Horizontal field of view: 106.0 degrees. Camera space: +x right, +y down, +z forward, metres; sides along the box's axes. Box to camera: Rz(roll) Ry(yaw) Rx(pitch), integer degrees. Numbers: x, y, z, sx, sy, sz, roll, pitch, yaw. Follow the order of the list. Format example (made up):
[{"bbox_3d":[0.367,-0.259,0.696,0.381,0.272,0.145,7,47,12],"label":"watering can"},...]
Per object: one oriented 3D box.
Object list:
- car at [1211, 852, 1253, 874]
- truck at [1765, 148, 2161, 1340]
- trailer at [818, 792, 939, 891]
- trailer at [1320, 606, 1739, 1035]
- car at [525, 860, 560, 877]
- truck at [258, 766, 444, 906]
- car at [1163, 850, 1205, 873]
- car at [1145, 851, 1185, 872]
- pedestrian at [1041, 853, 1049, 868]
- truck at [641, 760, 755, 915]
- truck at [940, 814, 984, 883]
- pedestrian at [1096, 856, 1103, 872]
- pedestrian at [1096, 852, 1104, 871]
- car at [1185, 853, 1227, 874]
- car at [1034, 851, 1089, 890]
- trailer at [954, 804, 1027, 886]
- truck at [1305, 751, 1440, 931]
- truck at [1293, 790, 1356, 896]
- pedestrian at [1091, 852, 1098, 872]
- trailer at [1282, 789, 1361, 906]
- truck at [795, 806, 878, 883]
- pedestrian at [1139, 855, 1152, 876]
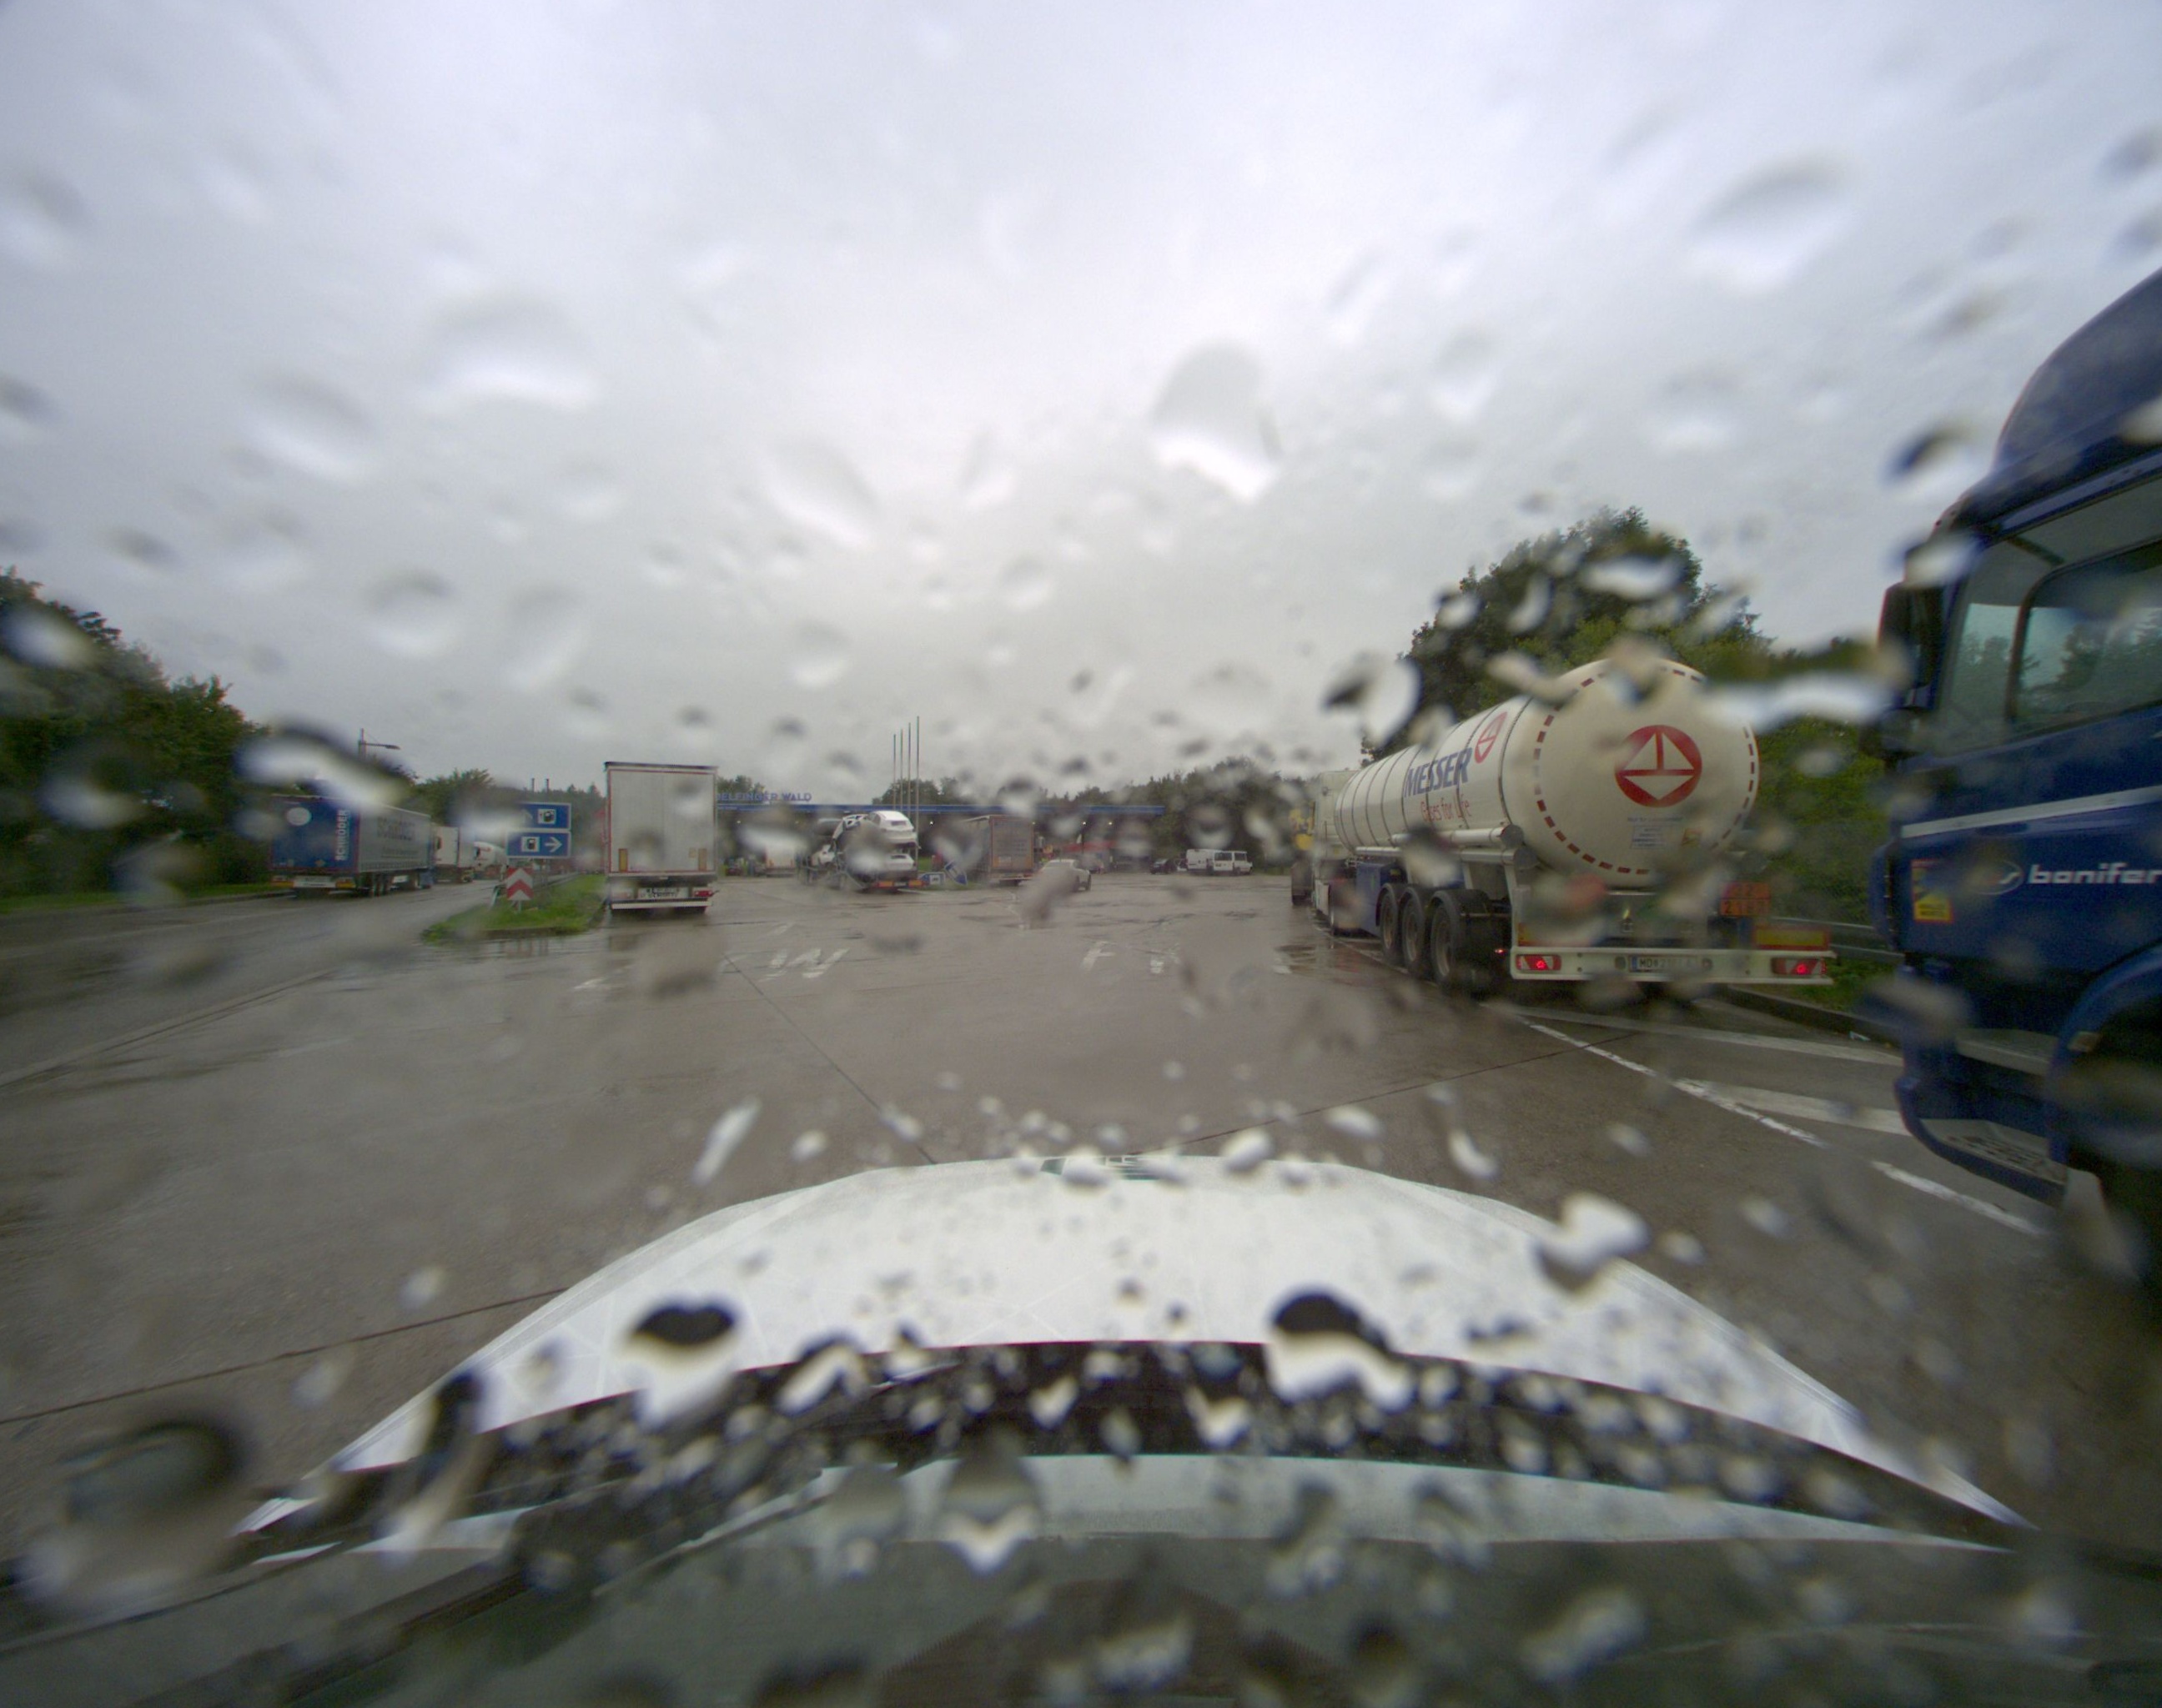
[{"bbox_3d":[12.427,0.728,66.709,2.093,1.728,4.025,-1,0,31],"label":"car"},{"bbox_3d":[4.211,-0.336,1.438,2.046,3.531,4.746,0,-1,1],"label":"truck"},{"bbox_3d":[-10.300,-0.496,40.123,3.233,4.189,11.426,1,-1,-27],"label":"trailer"},{"bbox_3d":[5.123,-0.242,11.746,2.118,3.440,10.282,-1,0,10],"label":"trailer"},{"bbox_3d":[-47.796,1.288,72.365,1.886,1.461,3.970,1,-1,-23],"label":"car"},{"bbox_3d":[-32.240,-0.631,36.707,4.826,5.306,10.951,0,-1,-35],"label":"truck"},{"bbox_3d":[9.189,0.671,72.445,2.093,1.937,4.218,-1,0,31],"label":"car"},{"bbox_3d":[7.896,0.698,76.418,2.093,1.937,4.218,-1,0,31],"label":"car"},{"bbox_3d":[-3.824,0.690,86.366,0.715,1.522,0.743,1,-4,4],"label":"pedestrian"},{"bbox_3d":[-12.703,-0.399,26.316,2.385,3.874,12.336,-1,0,-30],"label":"truck"},{"bbox_3d":[-8.357,-0.312,56.689,1.996,4.550,4.760,0,-1,-22],"label":"truck"},{"bbox_3d":[1.834,1.030,82.237,0.609,1.539,0.592,0,-2,-13],"label":"pedestrian"},{"bbox_3d":[1.974,0.776,84.992,0.666,2.014,0.743,1,-4,4],"label":"pedestrian"},{"bbox_3d":[10.565,0.754,68.635,2.093,1.728,4.025,-1,0,31],"label":"car"},{"bbox_3d":[-0.844,0.754,37.865,1.983,1.679,4.008,0,-1,7],"label":"car"},{"bbox_3d":[-5.717,-0.432,49.950,2.001,4.559,9.738,0,-1,-21],"label":"trailer"},{"bbox_3d":[6.361,-0.241,18.346,2.132,3.513,4.660,-1,0,11],"label":"truck"},{"bbox_3d":[9.504,-0.398,31.762,2.164,3.828,4.160,-1,0,17],"label":"truck"},{"bbox_3d":[1.420,0.852,86.210,0.585,2.014,0.636,2,-4,-5],"label":"pedestrian"},{"bbox_3d":[8.132,-0.177,27.386,2.165,3.392,7.598,-1,0,17],"label":"trailer"},{"bbox_3d":[-14.833,-0.513,48.931,3.252,4.189,8.368,1,-1,-27],"label":"truck"},{"bbox_3d":[6.082,1.054,76.805,0.945,1.920,1.095,0,0,23],"label":"pedestrian"}]
